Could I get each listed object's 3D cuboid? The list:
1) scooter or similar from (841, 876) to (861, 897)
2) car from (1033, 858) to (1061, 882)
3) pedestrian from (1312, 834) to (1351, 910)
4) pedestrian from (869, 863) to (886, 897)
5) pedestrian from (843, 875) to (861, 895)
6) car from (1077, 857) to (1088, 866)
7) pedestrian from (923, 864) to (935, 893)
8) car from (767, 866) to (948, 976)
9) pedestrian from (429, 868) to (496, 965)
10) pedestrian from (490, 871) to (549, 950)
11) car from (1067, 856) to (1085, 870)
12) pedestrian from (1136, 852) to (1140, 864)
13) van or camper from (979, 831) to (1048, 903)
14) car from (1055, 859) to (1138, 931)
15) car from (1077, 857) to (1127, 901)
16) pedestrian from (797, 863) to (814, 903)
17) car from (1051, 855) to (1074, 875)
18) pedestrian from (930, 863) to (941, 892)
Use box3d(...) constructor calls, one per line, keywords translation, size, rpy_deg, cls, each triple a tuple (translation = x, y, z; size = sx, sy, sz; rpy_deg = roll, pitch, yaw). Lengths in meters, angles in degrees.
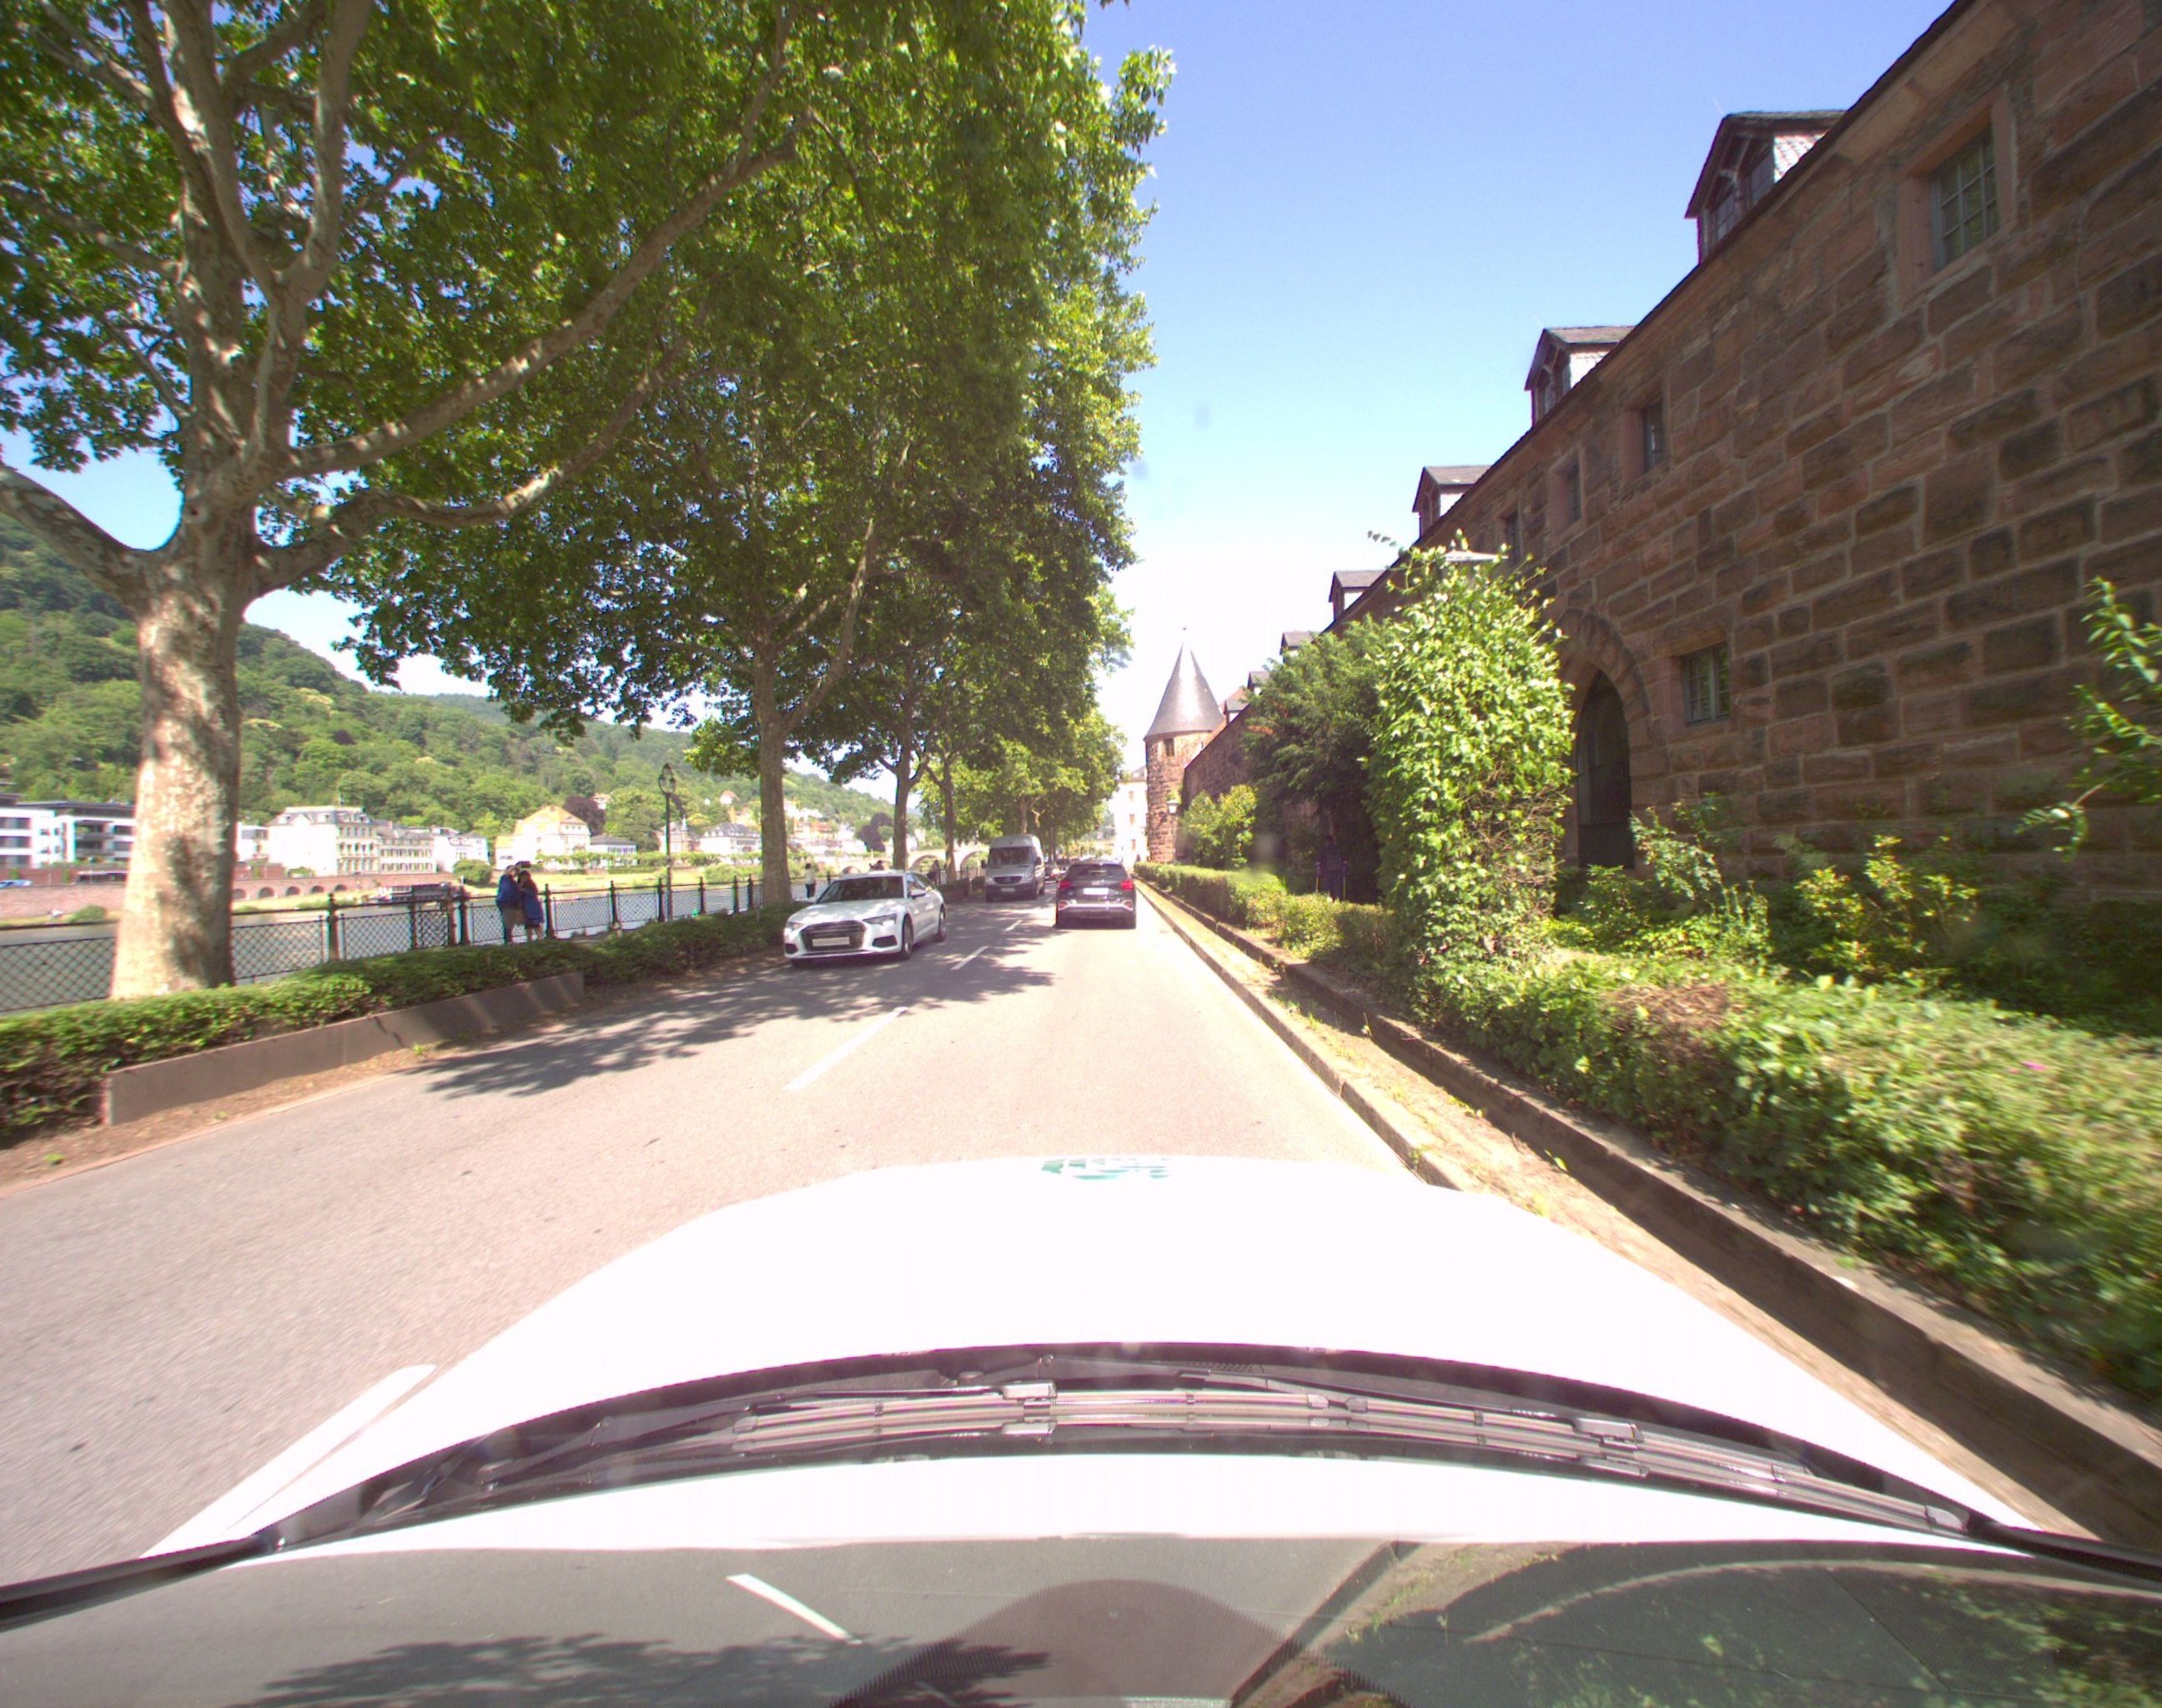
box3d(translation=(-10.912, 1.517, 38.634), size=(0.629, 0.968, 1.012), rpy_deg=(0, -1, 1), cls="scooter or similar")
box3d(translation=(-2.282, 1.067, 56.105), size=(1.644, 1.469, 3.780), rpy_deg=(-3, 0, 1), cls="car")
box3d(translation=(5.530, 0.400, 18.015), size=(0.695, 1.652, 0.705), rpy_deg=(0, -1, 4), cls="pedestrian")
box3d(translation=(-9.549, 1.218, 38.223), size=(0.642, 1.618, 0.458), rpy_deg=(0, -1, -1), cls="pedestrian")
box3d(translation=(-10.901, 1.473, 38.782), size=(0.605, 0.884, 0.705), rpy_deg=(-2, 0, 1), cls="pedestrian")
box3d(translation=(0.310, 1.275, 134.603), size=(1.608, 1.523, 3.479), rpy_deg=(0, -1, 3), cls="car")
box3d(translation=(-8.280, 1.313, 44.492), size=(0.455, 1.554, 0.586), rpy_deg=(-3, -1, 1), cls="pedestrian")
box3d(translation=(-3.642, 1.019, 14.210), size=(1.763, 1.457, 4.534), rpy_deg=(-4, -1, 1), cls="car")
box3d(translation=(-11.922, 1.187, 15.723), size=(0.701, 1.797, 0.705), rpy_deg=(-2, -1, 3), cls="pedestrian")
box3d(translation=(-11.865, 1.176, 17.226), size=(0.701, 1.603, 0.705), rpy_deg=(-2, -1, 3), cls="pedestrian")
box3d(translation=(-0.581, 1.144, 102.602), size=(1.755, 1.647, 4.096), rpy_deg=(-3, 0, 6), cls="car")
box3d(translation=(7.522, 0.520, 107.360), size=(0.555, 1.633, 0.660), rpy_deg=(-1, -1, 2), cls="pedestrian")
box3d(translation=(-2.626, 0.509, 33.223), size=(1.953, 2.567, 5.843), rpy_deg=(-4, -1, 2), cls="van or camper")
box3d(translation=(0.350, 0.883, 18.968), size=(1.742, 1.494, 3.629), rpy_deg=(0, 0, 0), cls="car")
box3d(translation=(0.886, 0.932, 32.290), size=(1.794, 1.562, 3.718), rpy_deg=(-3, 0, 3), cls="car")
box3d(translation=(-11.805, 1.252, 34.937), size=(0.582, 1.711, 0.403), rpy_deg=(0, -1, -1), cls="pedestrian")
box3d(translation=(-1.693, 1.029, 75.652), size=(1.870, 1.698, 4.259), rpy_deg=(-3, 0, 1), cls="car")
box3d(translation=(-8.169, 1.310, 45.773), size=(0.455, 1.554, 0.586), rpy_deg=(-3, -1, 1), cls="pedestrian")
